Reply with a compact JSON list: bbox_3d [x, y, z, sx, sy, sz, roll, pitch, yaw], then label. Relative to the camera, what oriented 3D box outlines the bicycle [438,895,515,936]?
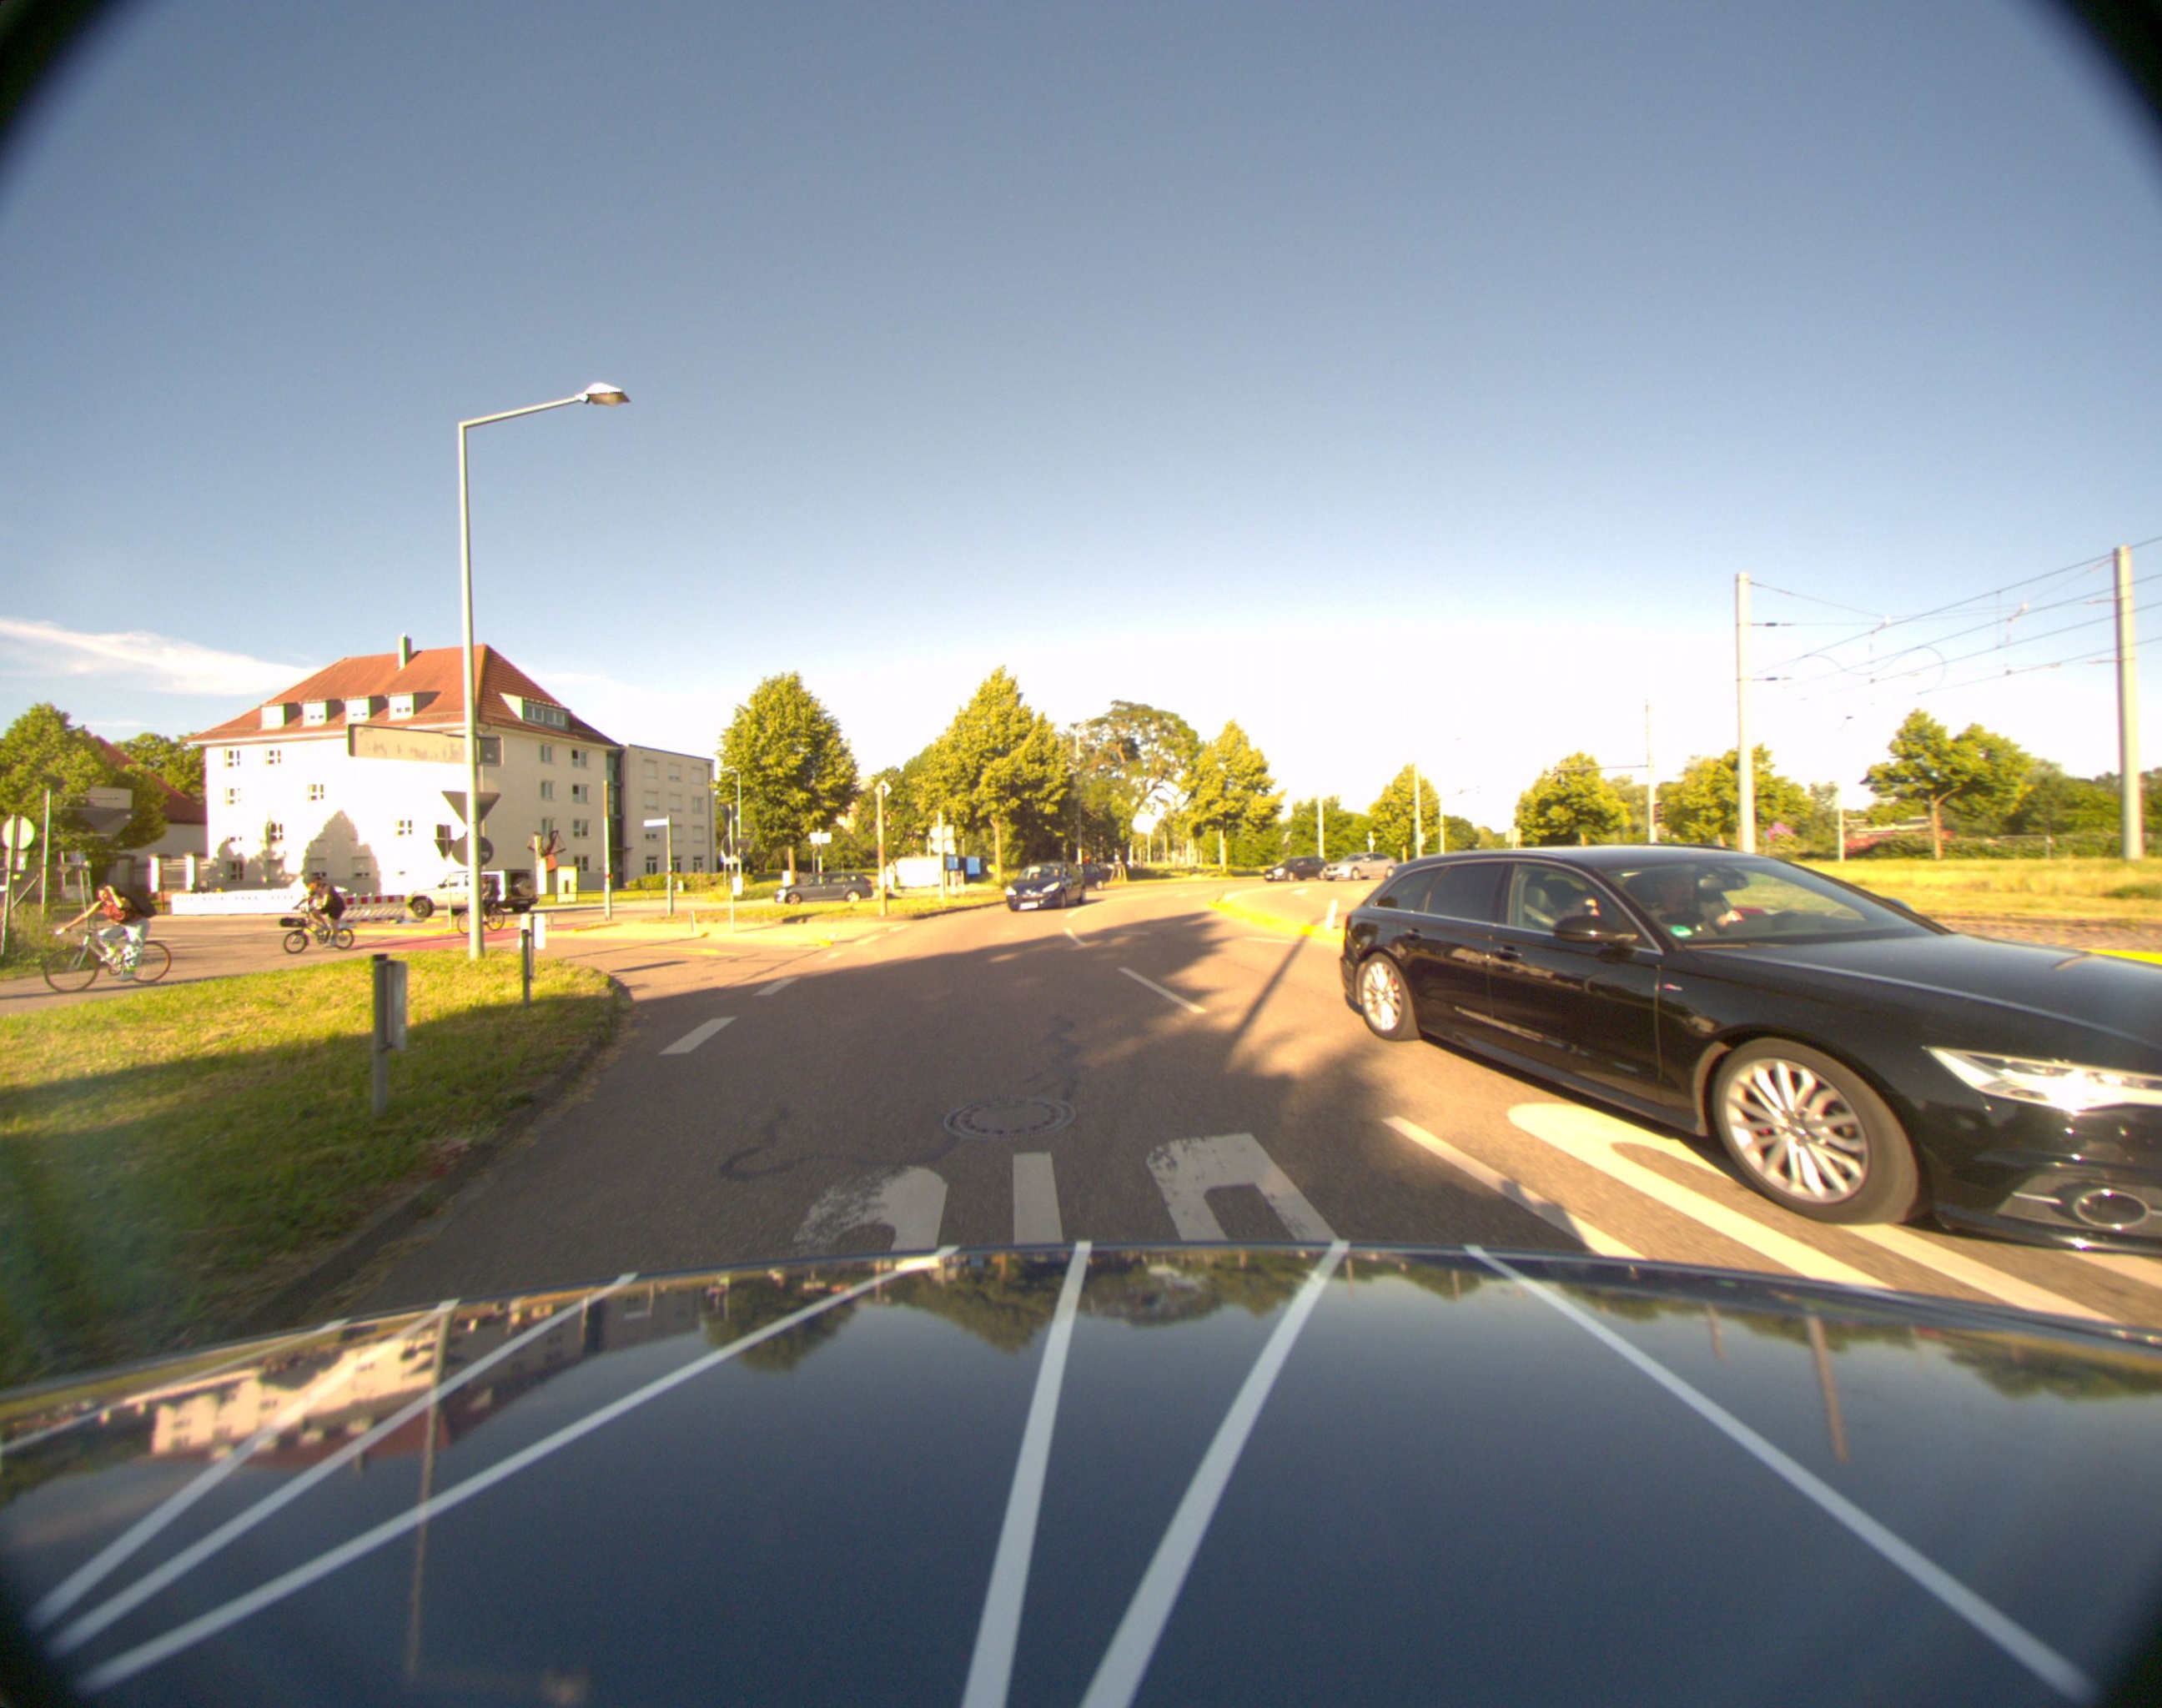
[{"bbox_3d":[-17.011,1.716,21.441,0.660,1.021,1.824,-3,-1,1],"label":"bicycle"}]

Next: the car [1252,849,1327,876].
[{"bbox_3d":[12.419,0.507,45.203,4.073,1.371,1.722,-2,-2,-23],"label":"car"}]

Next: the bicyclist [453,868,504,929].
[{"bbox_3d":[-17.029,1.233,21.491,0.660,1.655,0.899,-3,-1,0],"label":"bicyclist"}]

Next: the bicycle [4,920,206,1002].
[{"bbox_3d":[-15.156,1.631,11.891,0.659,1.021,1.825,-2,0,9],"label":"bicycle"}]

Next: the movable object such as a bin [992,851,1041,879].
[{"bbox_3d":[-7.060,1.189,83.620,5.044,2.771,2.001,-3,-1,0],"label":"movable object such as a bin"}]

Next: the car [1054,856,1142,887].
[{"bbox_3d":[0.950,0.912,40.582,4.554,1.459,1.634,-2,0,-37],"label":"car"}]

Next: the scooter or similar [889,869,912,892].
[{"bbox_3d":[-10.353,1.491,43.600,0.443,1.240,1.267,-4,-1,34],"label":"scooter or similar"}]

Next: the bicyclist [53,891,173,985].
[{"bbox_3d":[-15.147,1.280,11.911,0.659,1.376,0.936,0,-1,9],"label":"bicyclist"}]

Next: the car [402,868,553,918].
[{"bbox_3d":[-25.438,1.613,32.157,4.749,1.886,2.004,-2,0,1],"label":"car"}]

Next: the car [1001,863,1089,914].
[{"bbox_3d":[-1.064,1.061,24.581,1.755,1.445,4.004,-3,-1,13],"label":"car"}]

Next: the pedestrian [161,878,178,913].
[{"bbox_3d":[-52.033,2.353,43.390,0.454,2.002,0.472,-1,0,21],"label":"pedestrian"}]

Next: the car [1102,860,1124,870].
[{"bbox_3d":[6.175,2.069,146.843,3.994,1.745,1.917,-3,-2,11],"label":"car"}]

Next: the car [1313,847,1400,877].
[{"bbox_3d":[15.088,0.428,41.564,4.543,1.371,1.934,-2,-2,-29],"label":"car"}]

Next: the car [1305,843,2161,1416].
[{"bbox_3d":[3.308,0.716,4.405,1.798,1.435,5.012,-3,0,-9],"label":"car"}]

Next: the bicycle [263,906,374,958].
[{"bbox_3d":[-17.475,1.769,17.480,0.660,1.021,1.824,-3,-1,1],"label":"bicycle"}]

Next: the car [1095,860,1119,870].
[{"bbox_3d":[4.841,2.020,140.121,3.994,1.745,1.917,-3,-2,11],"label":"car"}]

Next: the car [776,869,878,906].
[{"bbox_3d":[-11.320,1.458,33.911,4.155,1.427,1.717,-2,-1,-21],"label":"car"}]

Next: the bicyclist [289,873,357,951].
[{"bbox_3d":[-17.487,1.323,17.549,0.654,1.720,0.813,-2,0,2],"label":"bicyclist"}]
